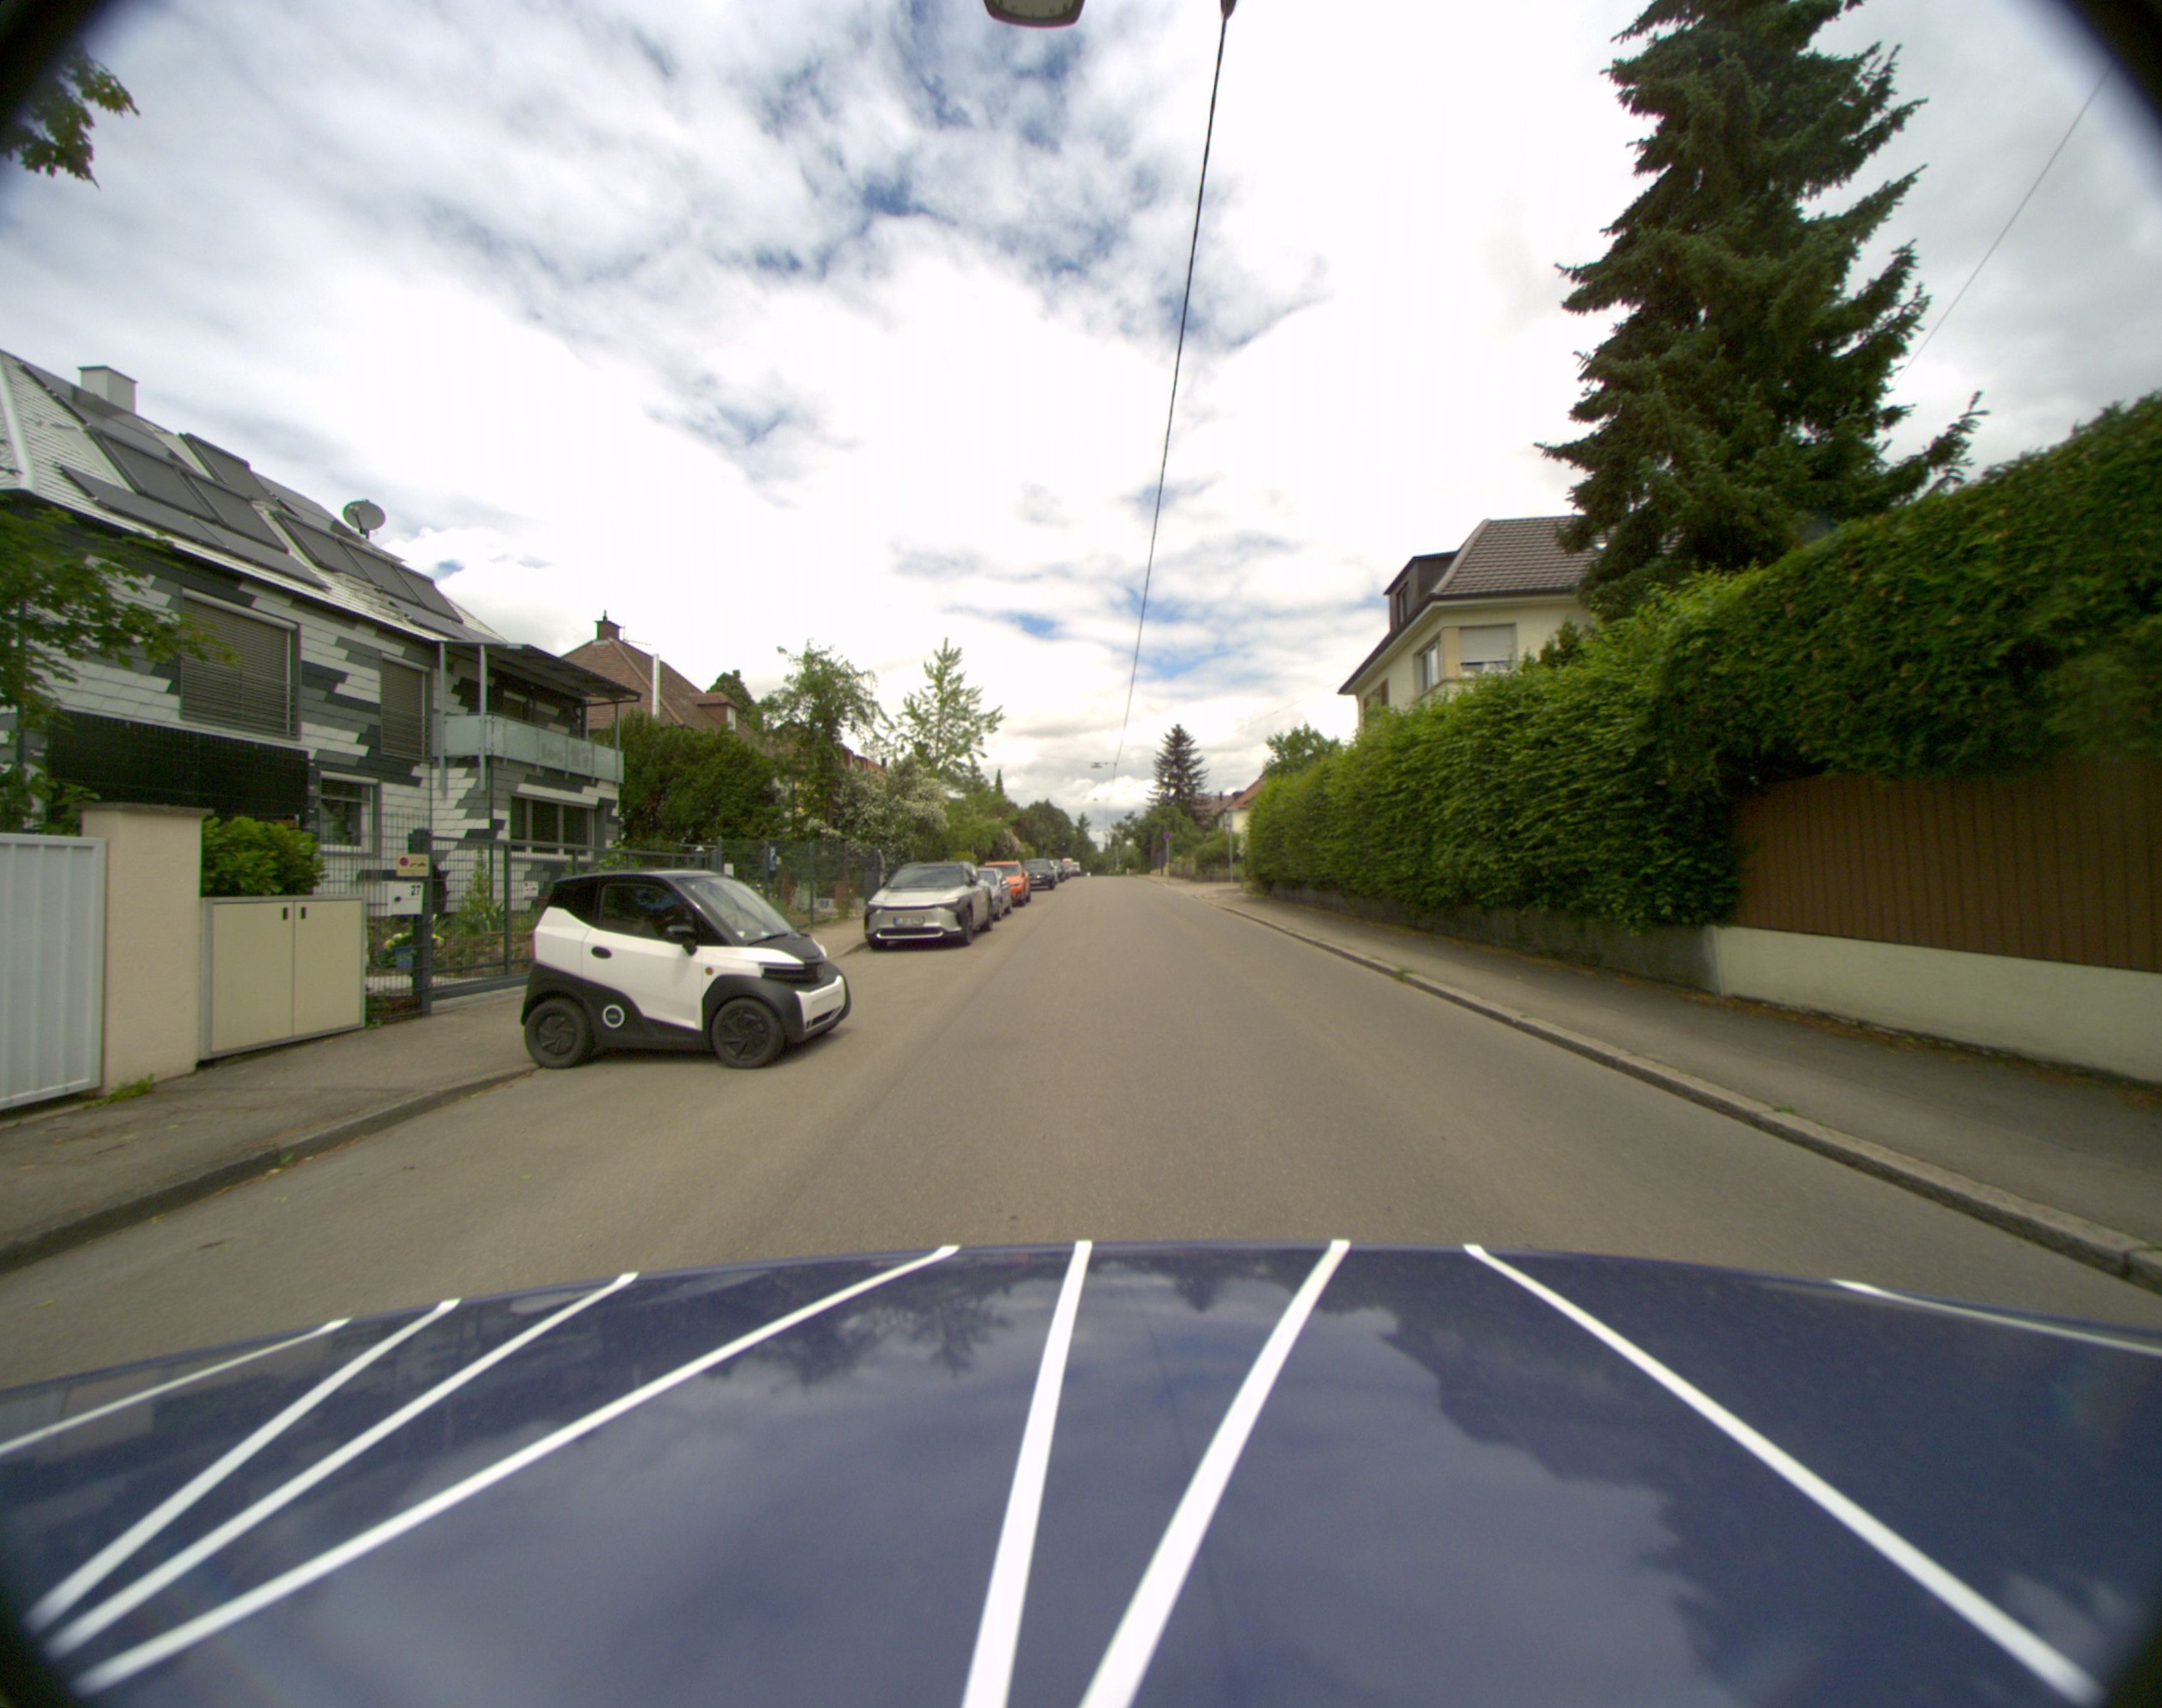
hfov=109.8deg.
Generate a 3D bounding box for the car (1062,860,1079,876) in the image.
[{"bbox_3d":[-1.180,1.697,89.936,1.878,1.621,4.128,-2,-3,1],"label":"car"}]

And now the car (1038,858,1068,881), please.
[{"bbox_3d":[-1.983,1.074,54.460,1.805,1.582,4.142,-1,0,3],"label":"car"}]

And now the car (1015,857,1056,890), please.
[{"bbox_3d":[-2.384,1.001,40.868,1.955,1.617,4.376,-3,0,-1],"label":"car"}]

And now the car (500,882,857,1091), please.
[{"bbox_3d":[-3.262,1.021,6.398,2.292,1.515,1.319,-1,0,6],"label":"car"}]

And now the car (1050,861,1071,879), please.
[{"bbox_3d":[-1.809,1.369,66.482,1.721,1.451,4.141,-1,-1,-2],"label":"car"}]

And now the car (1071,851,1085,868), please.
[{"bbox_3d":[-0.475,0.847,107.537,1.854,2.210,5.368,-3,-1,0],"label":"car"}]

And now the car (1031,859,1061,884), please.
[{"bbox_3d":[-2.172,1.090,48.090,1.602,1.501,3.014,-1,-1,2],"label":"car"}]

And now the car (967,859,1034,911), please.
[{"bbox_3d":[-2.791,1.030,27.090,1.855,1.617,4.169,-3,0,0],"label":"car"}]

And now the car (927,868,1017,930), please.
[{"bbox_3d":[-2.854,1.145,20.766,1.720,1.374,4.236,-2,0,1],"label":"car"}]

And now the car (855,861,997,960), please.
[{"bbox_3d":[-2.940,1.012,15.472,1.834,1.614,4.492,-2,0,1],"label":"car"}]
